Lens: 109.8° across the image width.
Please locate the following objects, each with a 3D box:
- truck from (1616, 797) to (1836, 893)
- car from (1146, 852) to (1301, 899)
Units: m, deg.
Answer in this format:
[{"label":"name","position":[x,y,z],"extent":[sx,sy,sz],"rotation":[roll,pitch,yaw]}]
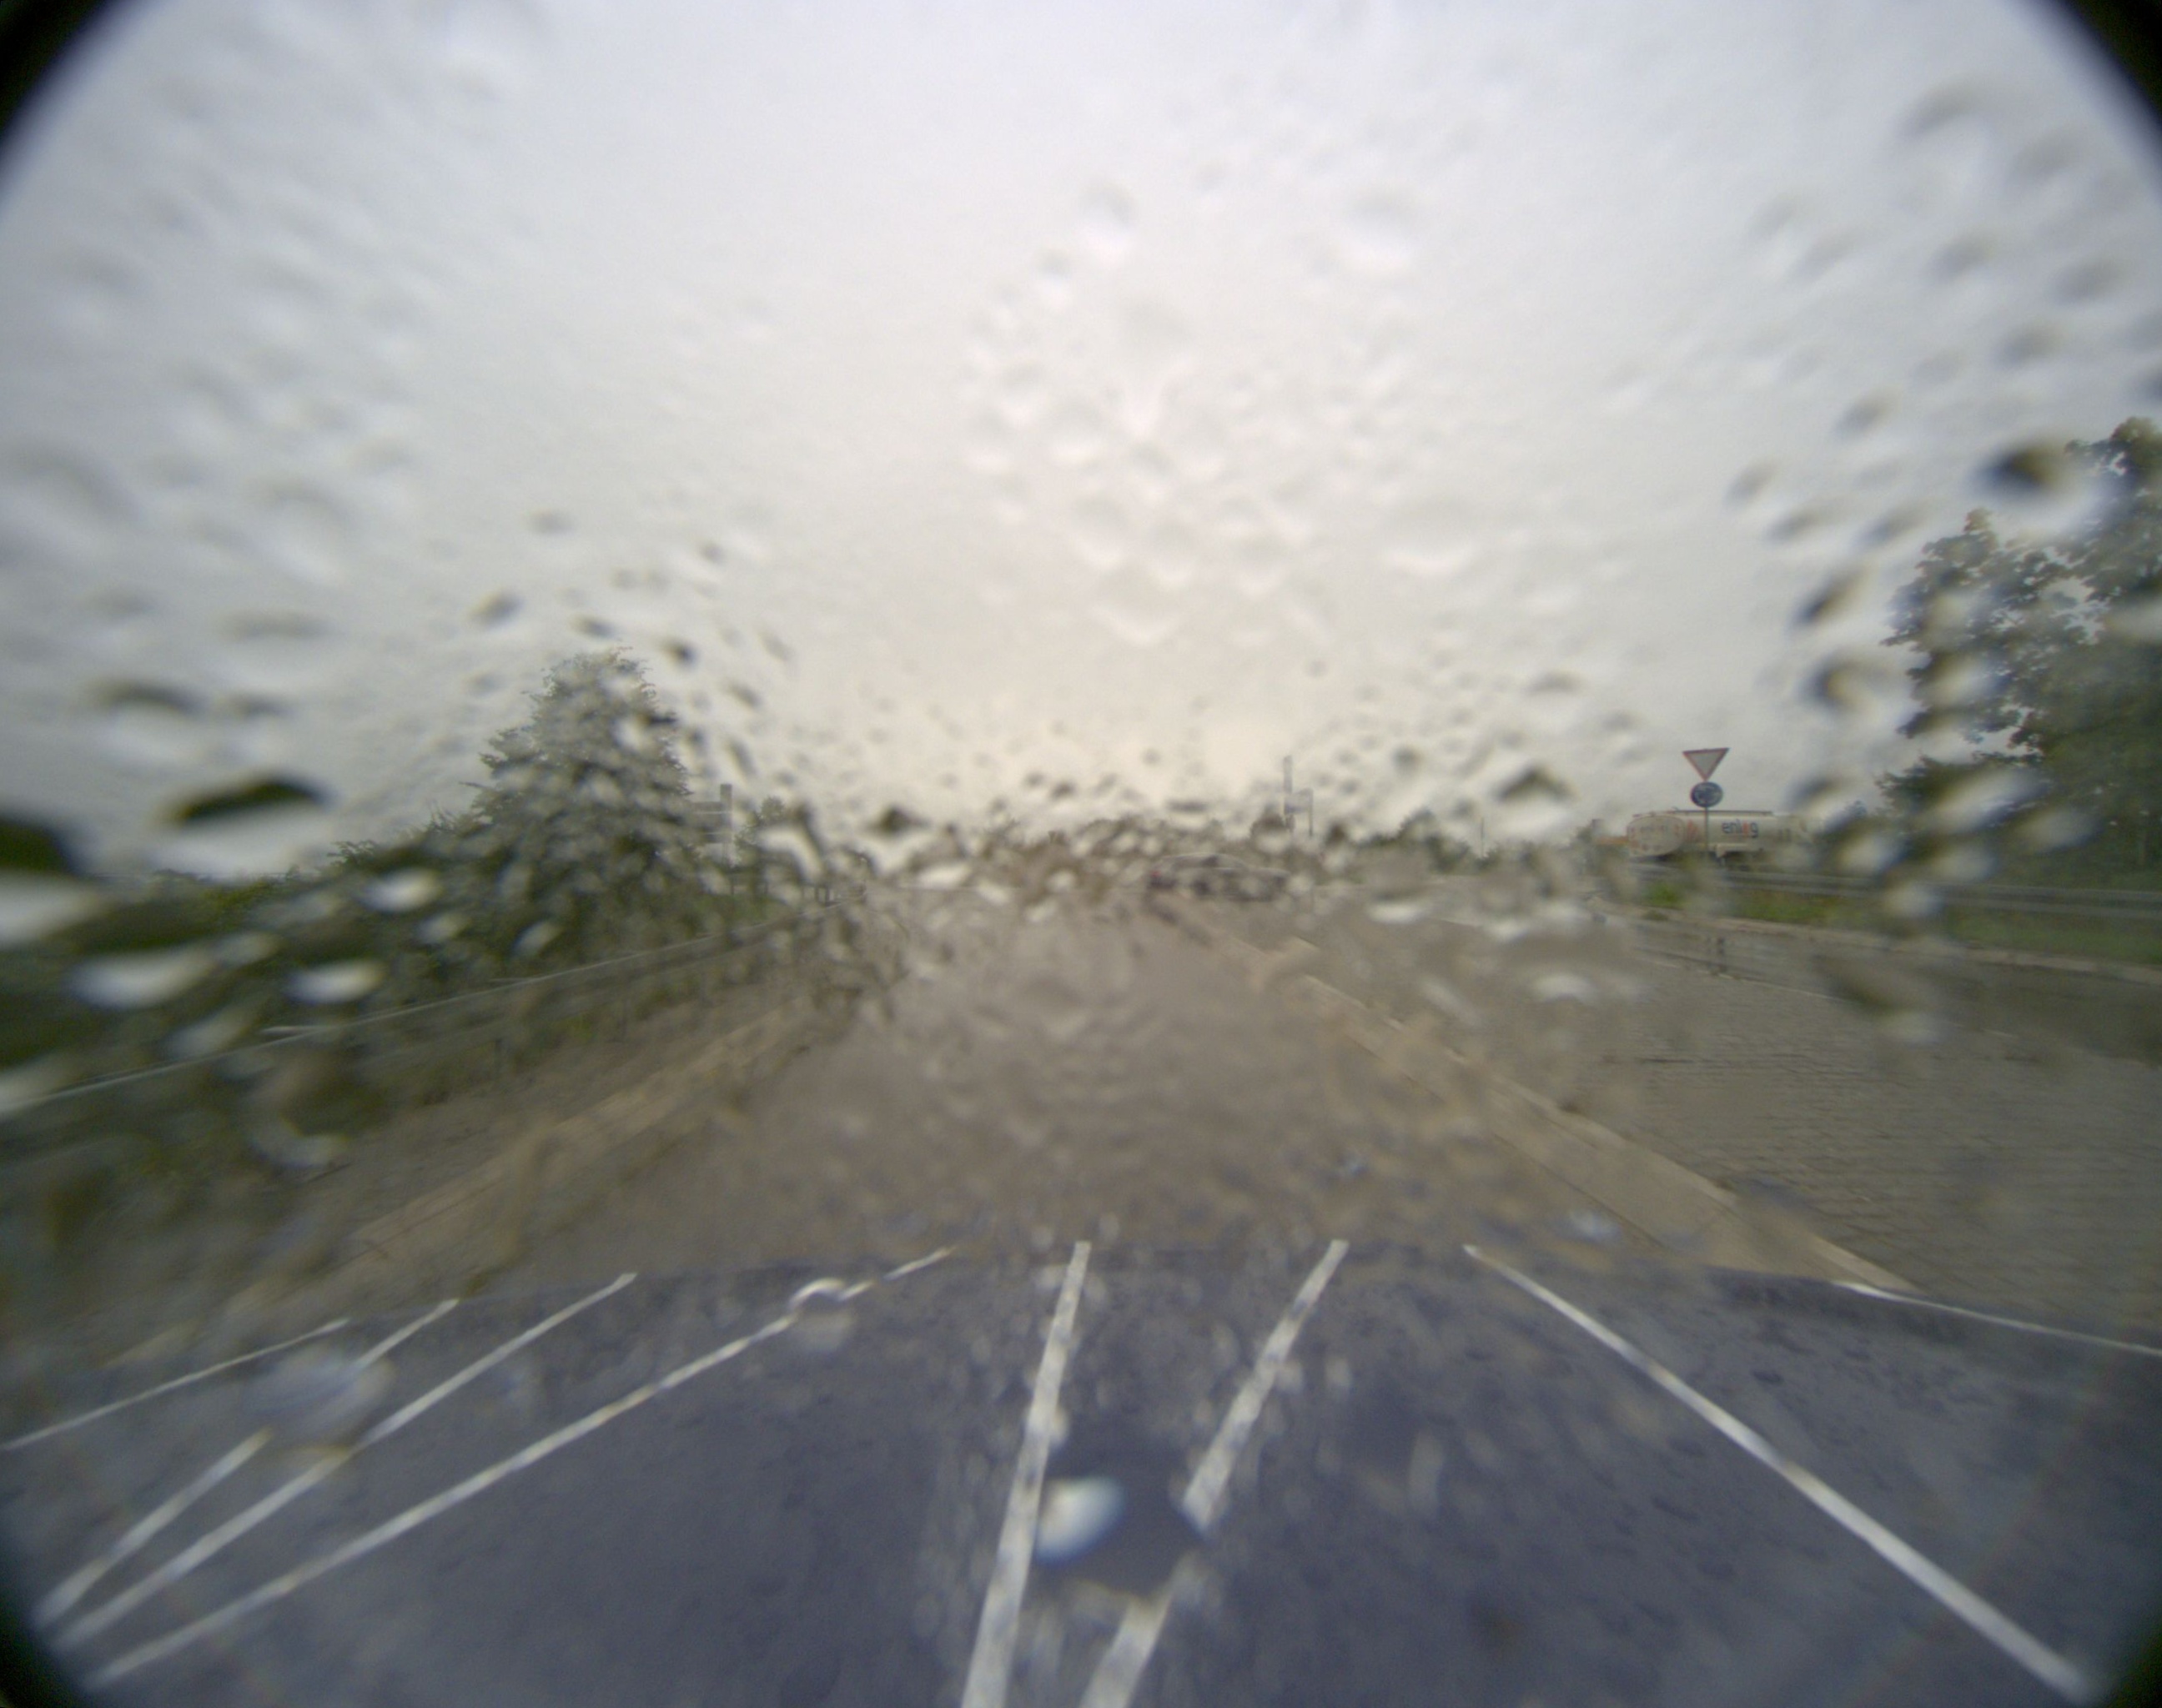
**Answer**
[{"label":"truck","position":[28.071,-0.322,33.100],"extent":[8.829,3.828,3.045],"rotation":[0,-1,-18]},{"label":"car","position":[4.323,0.645,23.717],"extent":[4.560,1.361,1.911],"rotation":[-1,1,4]}]
